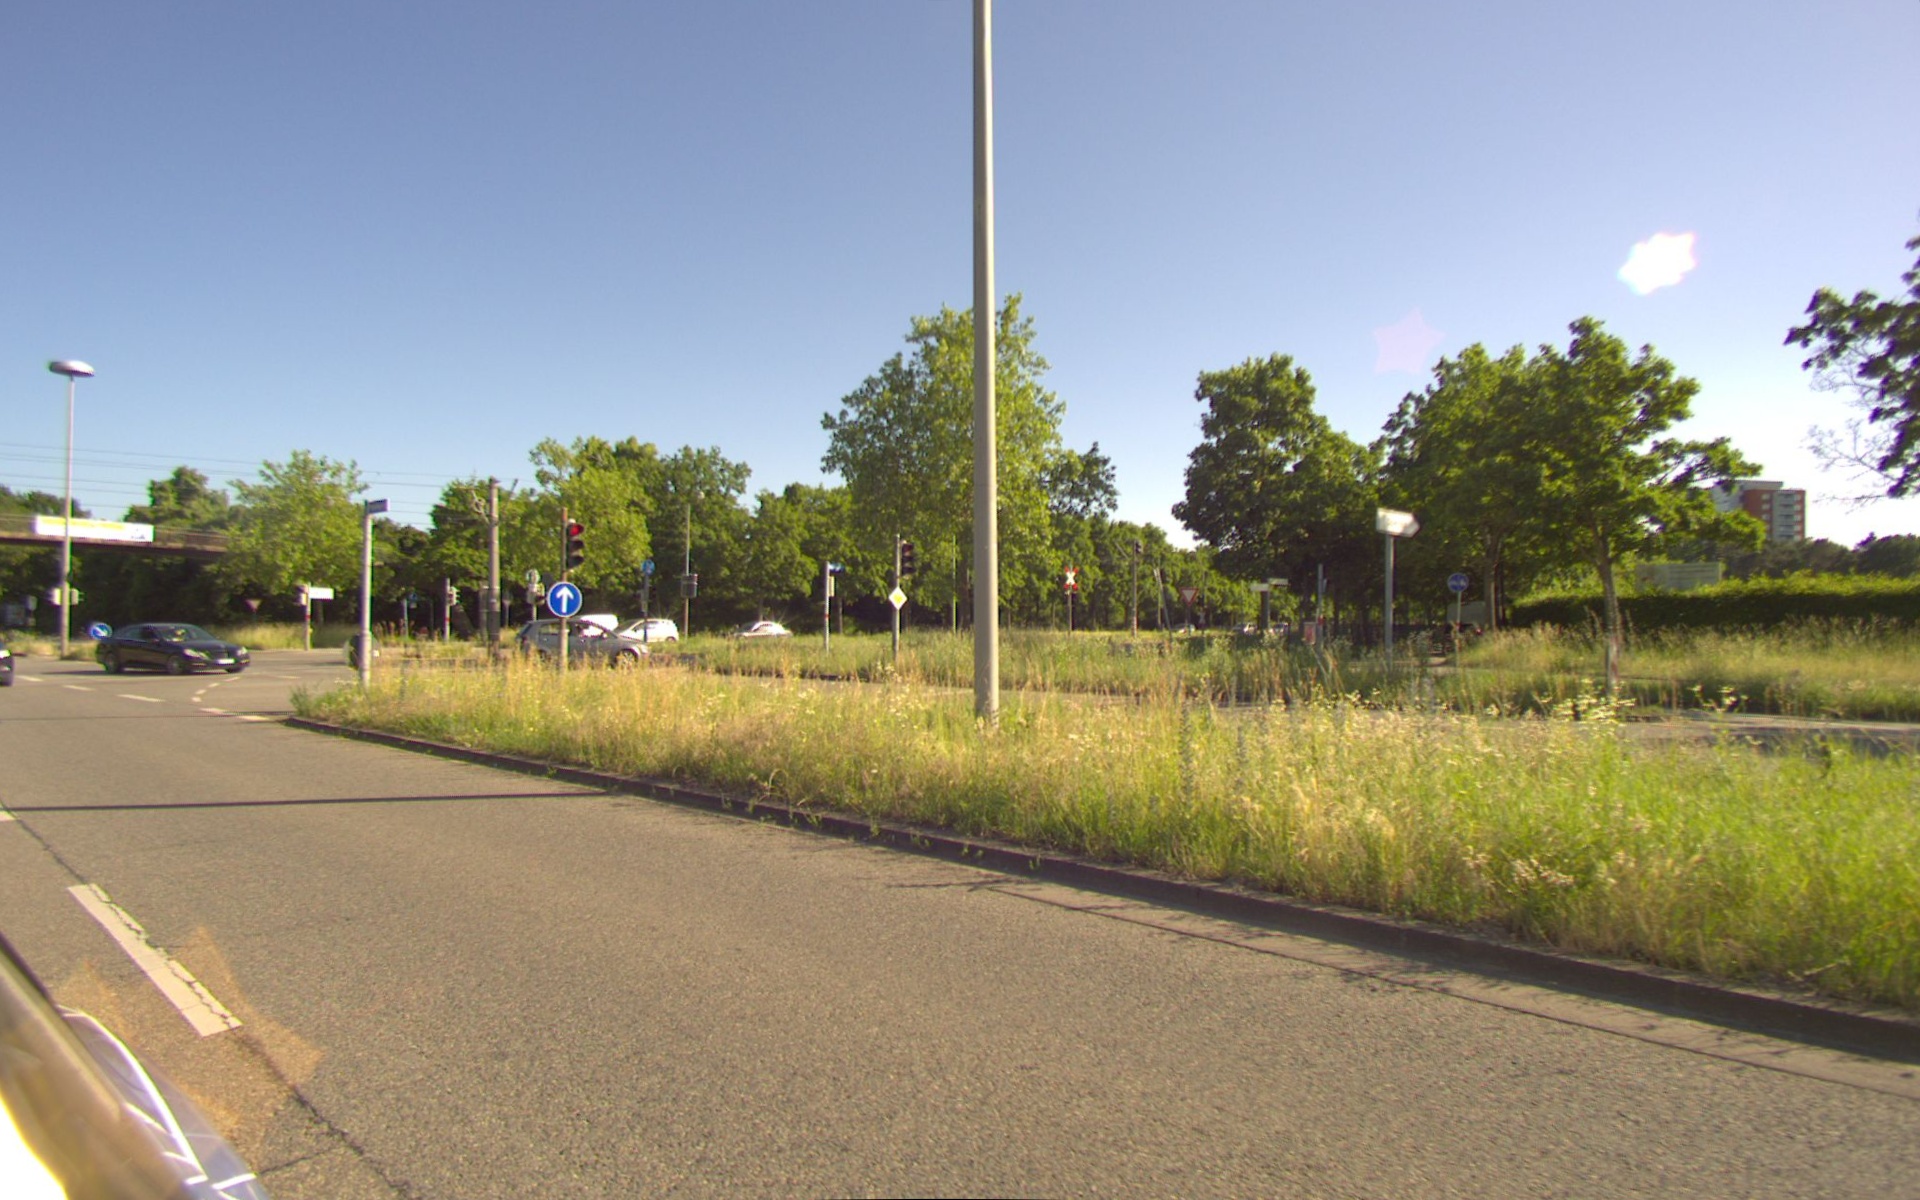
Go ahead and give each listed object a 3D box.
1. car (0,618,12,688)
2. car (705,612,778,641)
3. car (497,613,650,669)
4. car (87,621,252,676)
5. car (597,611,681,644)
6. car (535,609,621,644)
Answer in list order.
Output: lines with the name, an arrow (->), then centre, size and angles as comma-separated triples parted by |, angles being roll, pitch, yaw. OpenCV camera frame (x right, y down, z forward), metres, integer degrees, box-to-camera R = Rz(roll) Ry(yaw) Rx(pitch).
car -> -24.971, 1.301, 25.053 | 3.852, 1.675, 1.693 | -1, 0, 39
car -> -12.402, 1.481, 57.573 | 1.847, 1.572, 3.881 | -1, -1, 33
car -> -11.994, 1.245, 31.556 | 4.310, 1.582, 1.854 | -1, 0, -20
car -> -23.620, 1.402, 30.233 | 4.495, 1.498, 1.768 | 0, -1, 20
car -> -16.510, 1.384, 52.204 | 1.847, 1.572, 3.881 | -1, -1, 33
car -> -20.019, 1.352, 53.150 | 1.773, 1.768, 3.955 | -1, -1, 33
